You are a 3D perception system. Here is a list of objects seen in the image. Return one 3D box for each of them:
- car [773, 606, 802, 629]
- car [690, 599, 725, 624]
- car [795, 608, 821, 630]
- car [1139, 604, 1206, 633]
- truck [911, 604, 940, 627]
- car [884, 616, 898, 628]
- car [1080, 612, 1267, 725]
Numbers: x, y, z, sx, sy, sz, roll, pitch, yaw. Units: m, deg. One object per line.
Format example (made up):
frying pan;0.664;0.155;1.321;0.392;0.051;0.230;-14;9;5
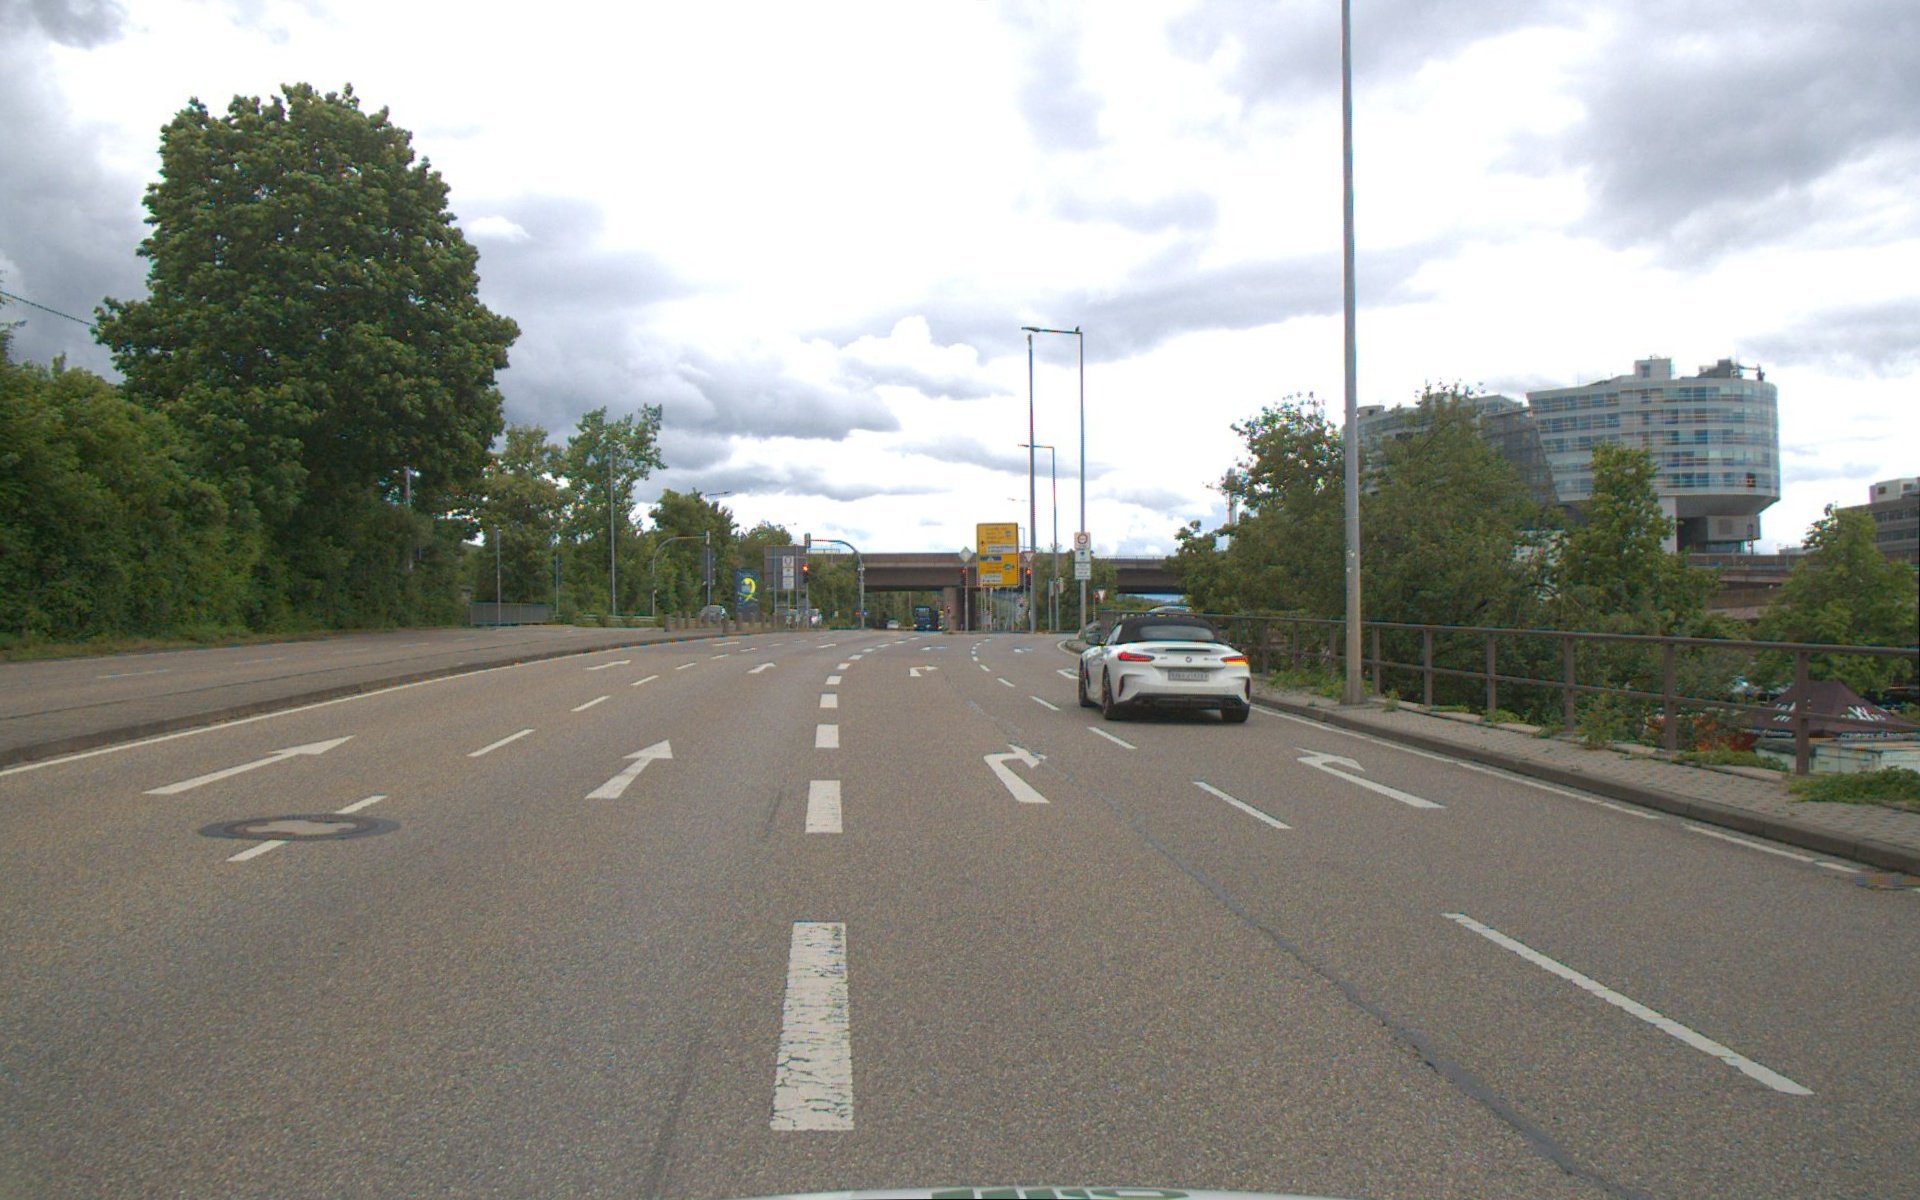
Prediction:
car;-12.786;1.305;122.781;1.735;1.674;3.823;2;-1;-1
car;-16.268;0.759;106.635;1.725;1.510;3.483;2;-1;-1
car;-12.084;1.537;131.951;1.735;1.661;3.823;2;-1;-1
car;14.136;1.231;110.250;4.280;1.789;2.000;-1;-2;2
truck;-5.091;2.365;243.724;2.862;3.201;10.117;1;-1;7
car;-9.406;3.043;225.232;1.705;1.564;3.672;1;0;1
car;2.735;0.844;22.030;1.837;1.332;3.871;1;0;-2
